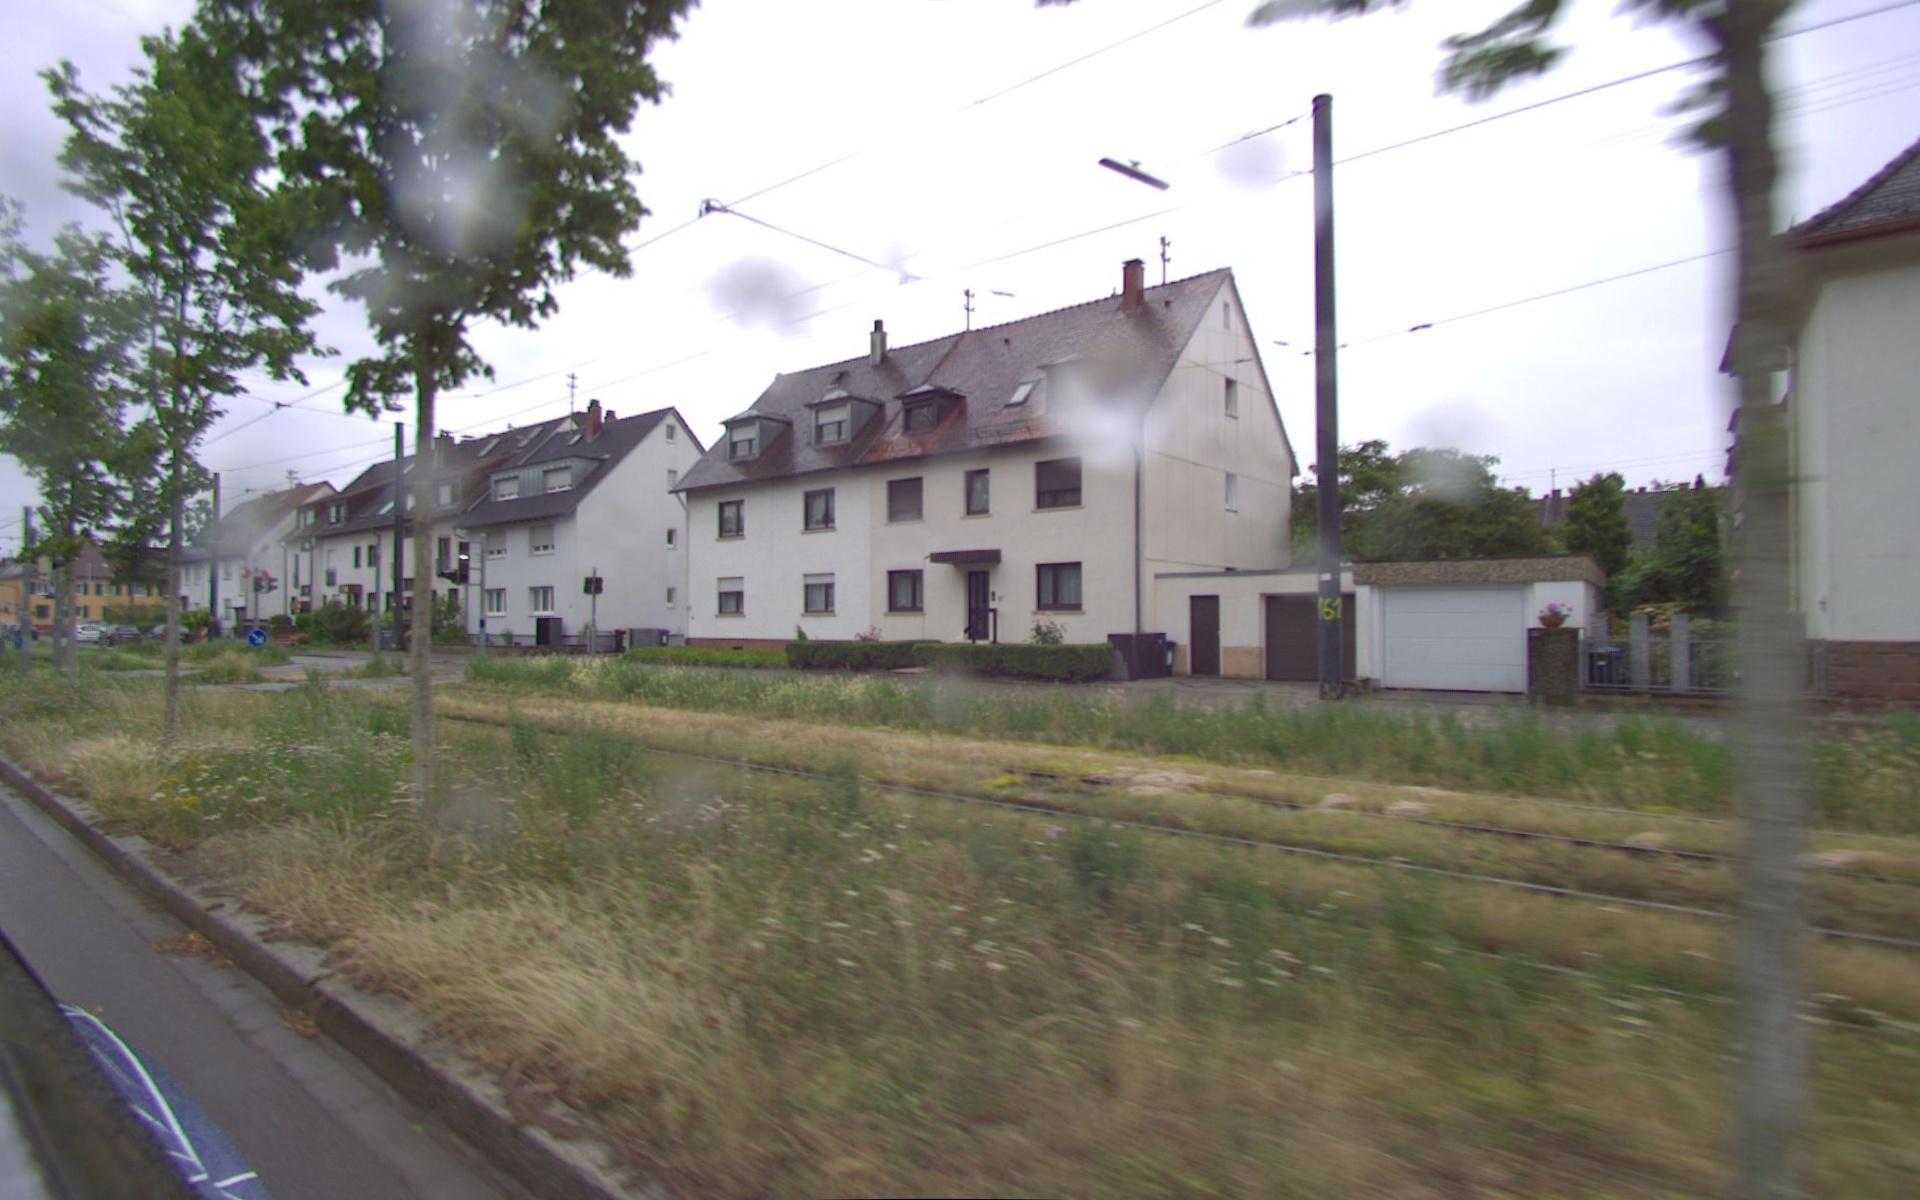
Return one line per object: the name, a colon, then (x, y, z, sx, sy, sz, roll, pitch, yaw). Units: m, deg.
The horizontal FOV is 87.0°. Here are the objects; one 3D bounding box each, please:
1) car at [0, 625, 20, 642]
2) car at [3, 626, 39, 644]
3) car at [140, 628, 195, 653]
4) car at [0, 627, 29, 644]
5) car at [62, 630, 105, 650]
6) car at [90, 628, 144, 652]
car: (-96.442, 3.392, 102.144, 3.999, 1.670, 1.972, -1, -1, 42)
car: (-86.268, 3.177, 92.988, 3.997, 1.602, 1.888, -1, -3, 40)
car: (-46.936, 2.387, 59.892, 3.934, 1.437, 1.755, -1, -3, 40)
car: (-89.987, 3.335, 96.052, 3.997, 1.541, 1.858, -1, -3, 40)
car: (-65.156, 2.934, 75.223, 3.995, 1.451, 1.694, -1, -3, 39)
car: (-56.661, 2.662, 67.970, 4.751, 1.543, 1.868, -1, -3, 39)
